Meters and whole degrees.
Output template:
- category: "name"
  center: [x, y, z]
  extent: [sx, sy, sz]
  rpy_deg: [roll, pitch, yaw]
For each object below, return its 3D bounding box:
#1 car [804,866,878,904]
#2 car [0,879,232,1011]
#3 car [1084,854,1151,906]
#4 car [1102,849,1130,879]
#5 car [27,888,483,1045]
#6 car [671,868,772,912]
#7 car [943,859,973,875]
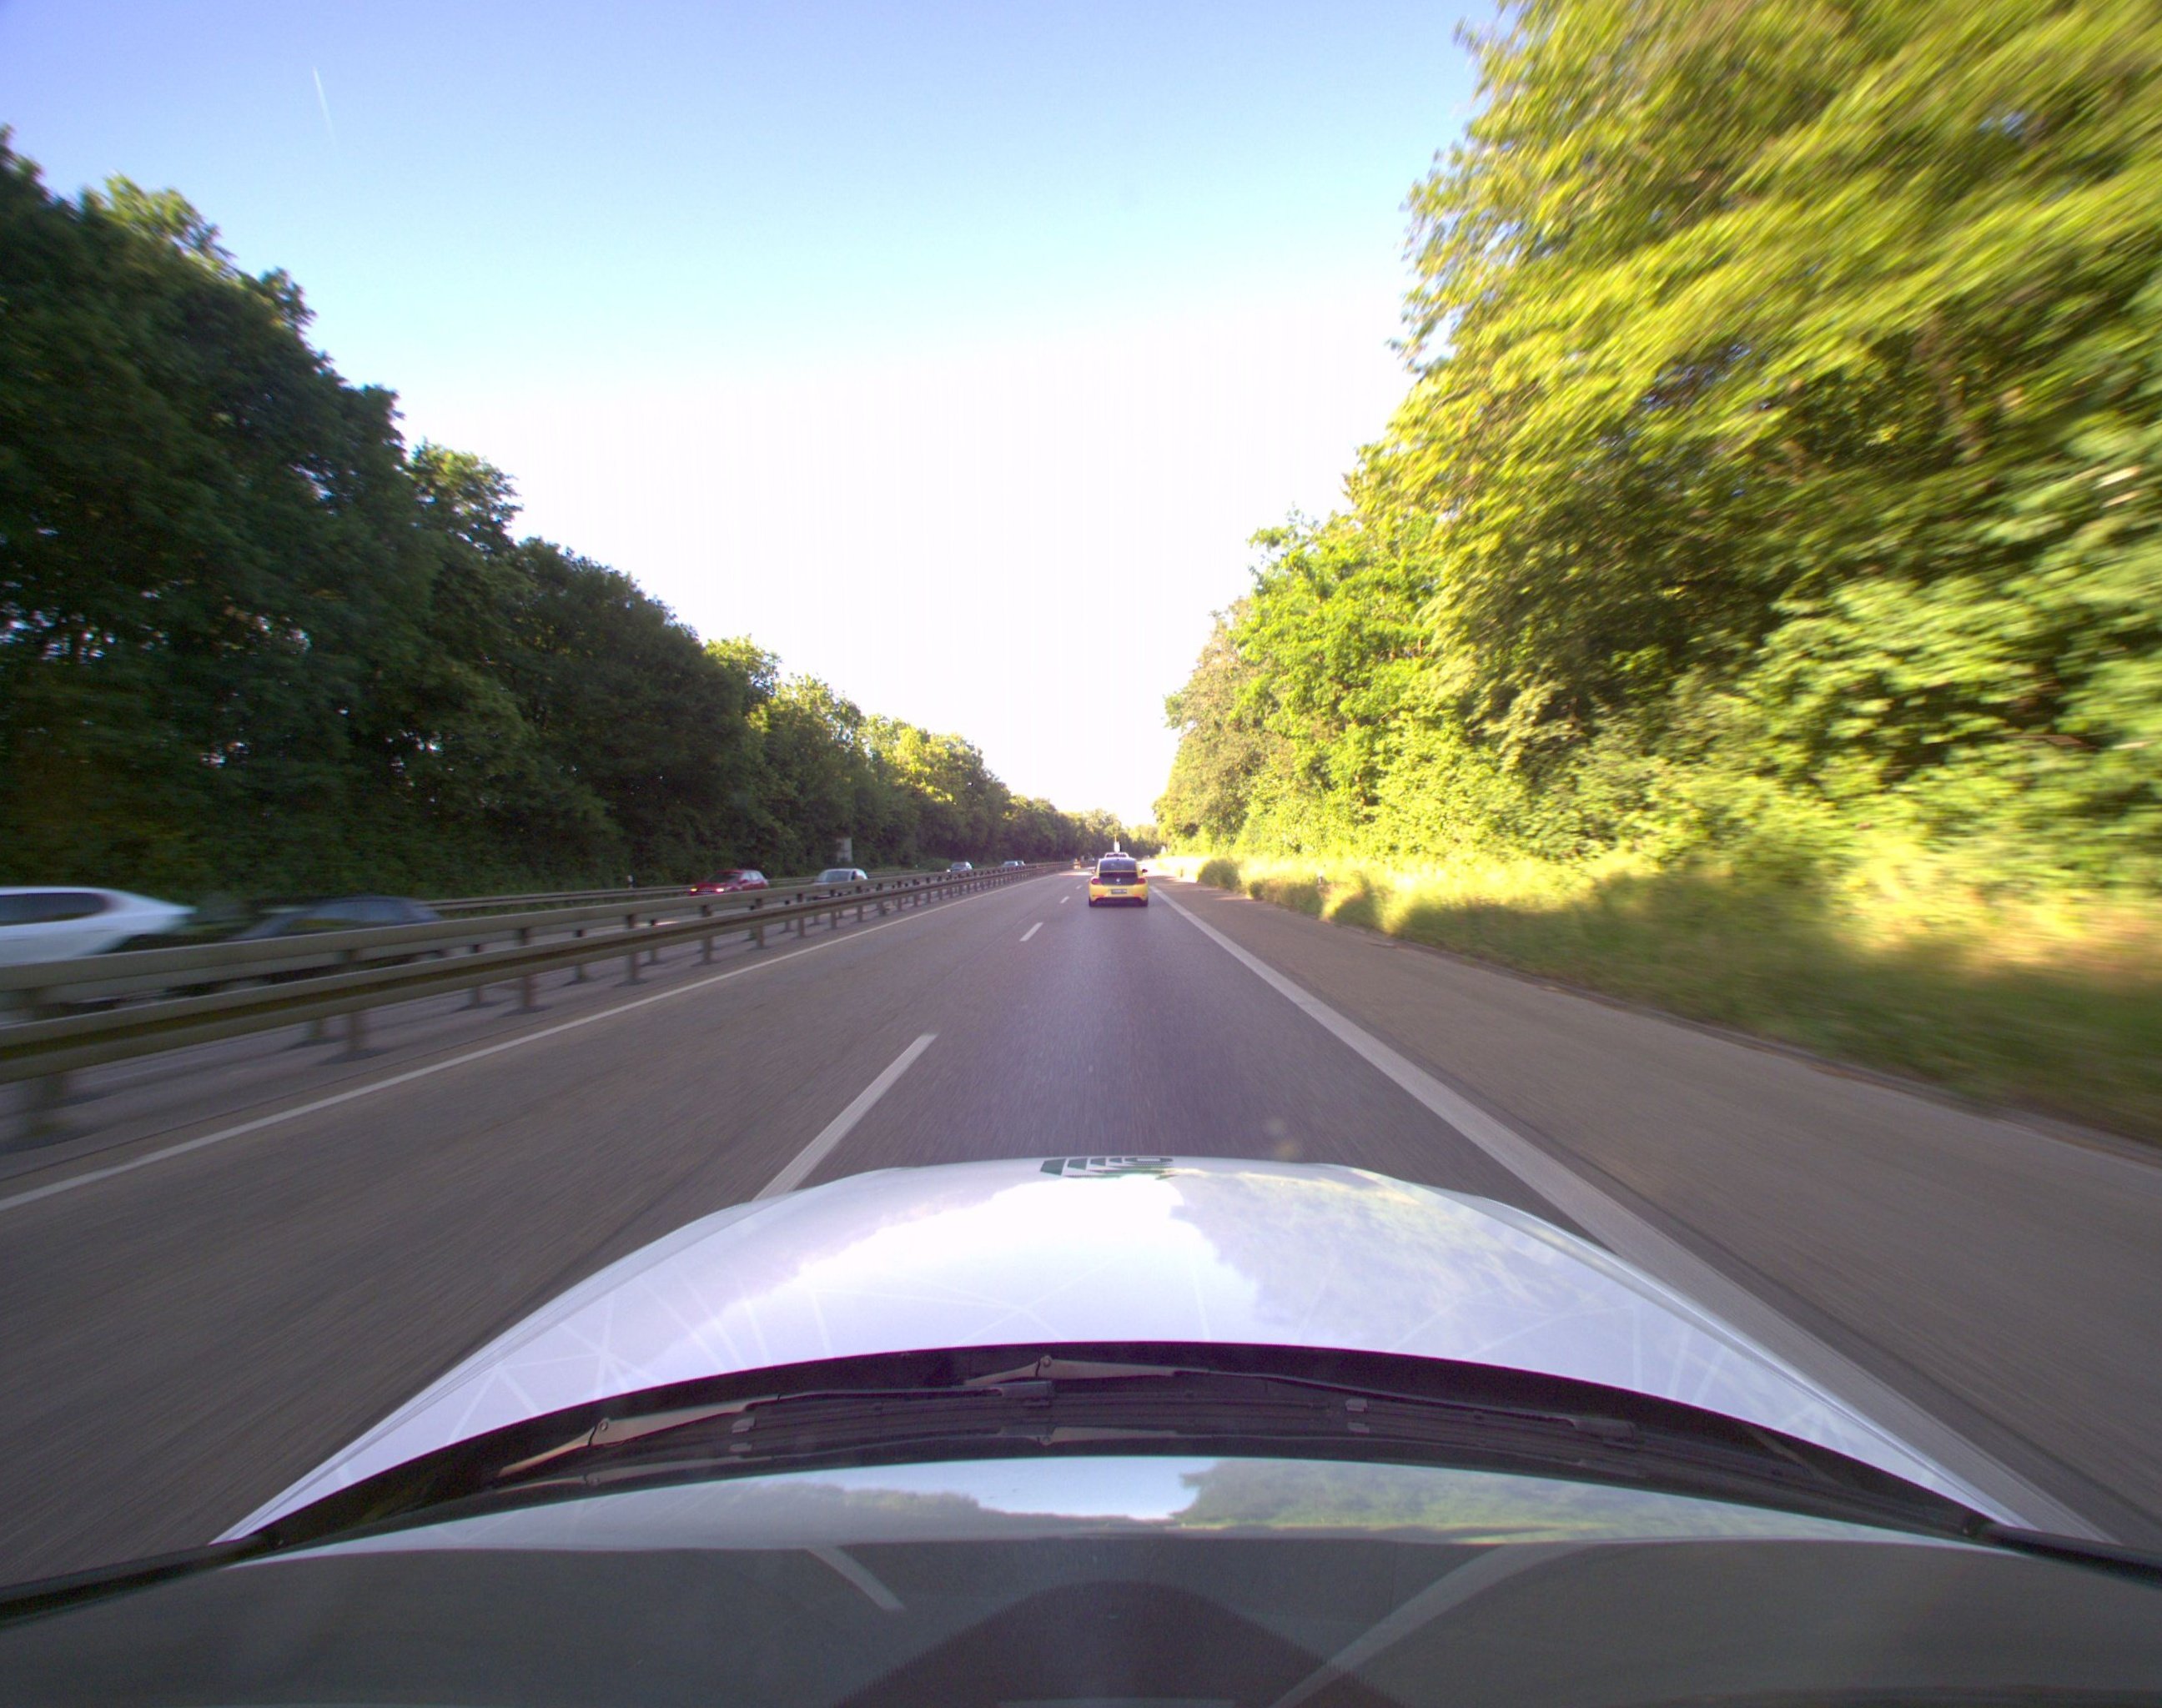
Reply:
- category: "car"
  center: [-9.866, 1.285, 33.777]
  extent: [1.718, 1.373, 4.097]
  rpy_deg: [-4, -2, 1]
- category: "car"
  center: [-14.942, 1.272, 10.836]
  extent: [1.984, 1.623, 4.795]
  rpy_deg: [-4, 0, 4]
- category: "car"
  center: [1.201, 0.759, 25.358]
  extent: [1.930, 1.508, 3.427]
  rpy_deg: [-1, 0, 5]
- category: "car"
  center: [2.268, 0.636, 53.171]
  extent: [1.734, 1.830, 3.424]
  rpy_deg: [-1, 0, 2]
- category: "car"
  center: [-10.596, 1.326, 10.991]
  extent: [1.716, 1.468, 4.101]
  rpy_deg: [-4, 0, 4]
- category: "car"
  center: [-14.178, 1.378, 32.358]
  extent: [1.985, 1.464, 4.003]
  rpy_deg: [-4, 0, 3]
- category: "car"
  center: [-12.167, 1.269, 80.858]
  extent: [1.985, 1.464, 4.906]
  rpy_deg: [-4, 0, 3]
